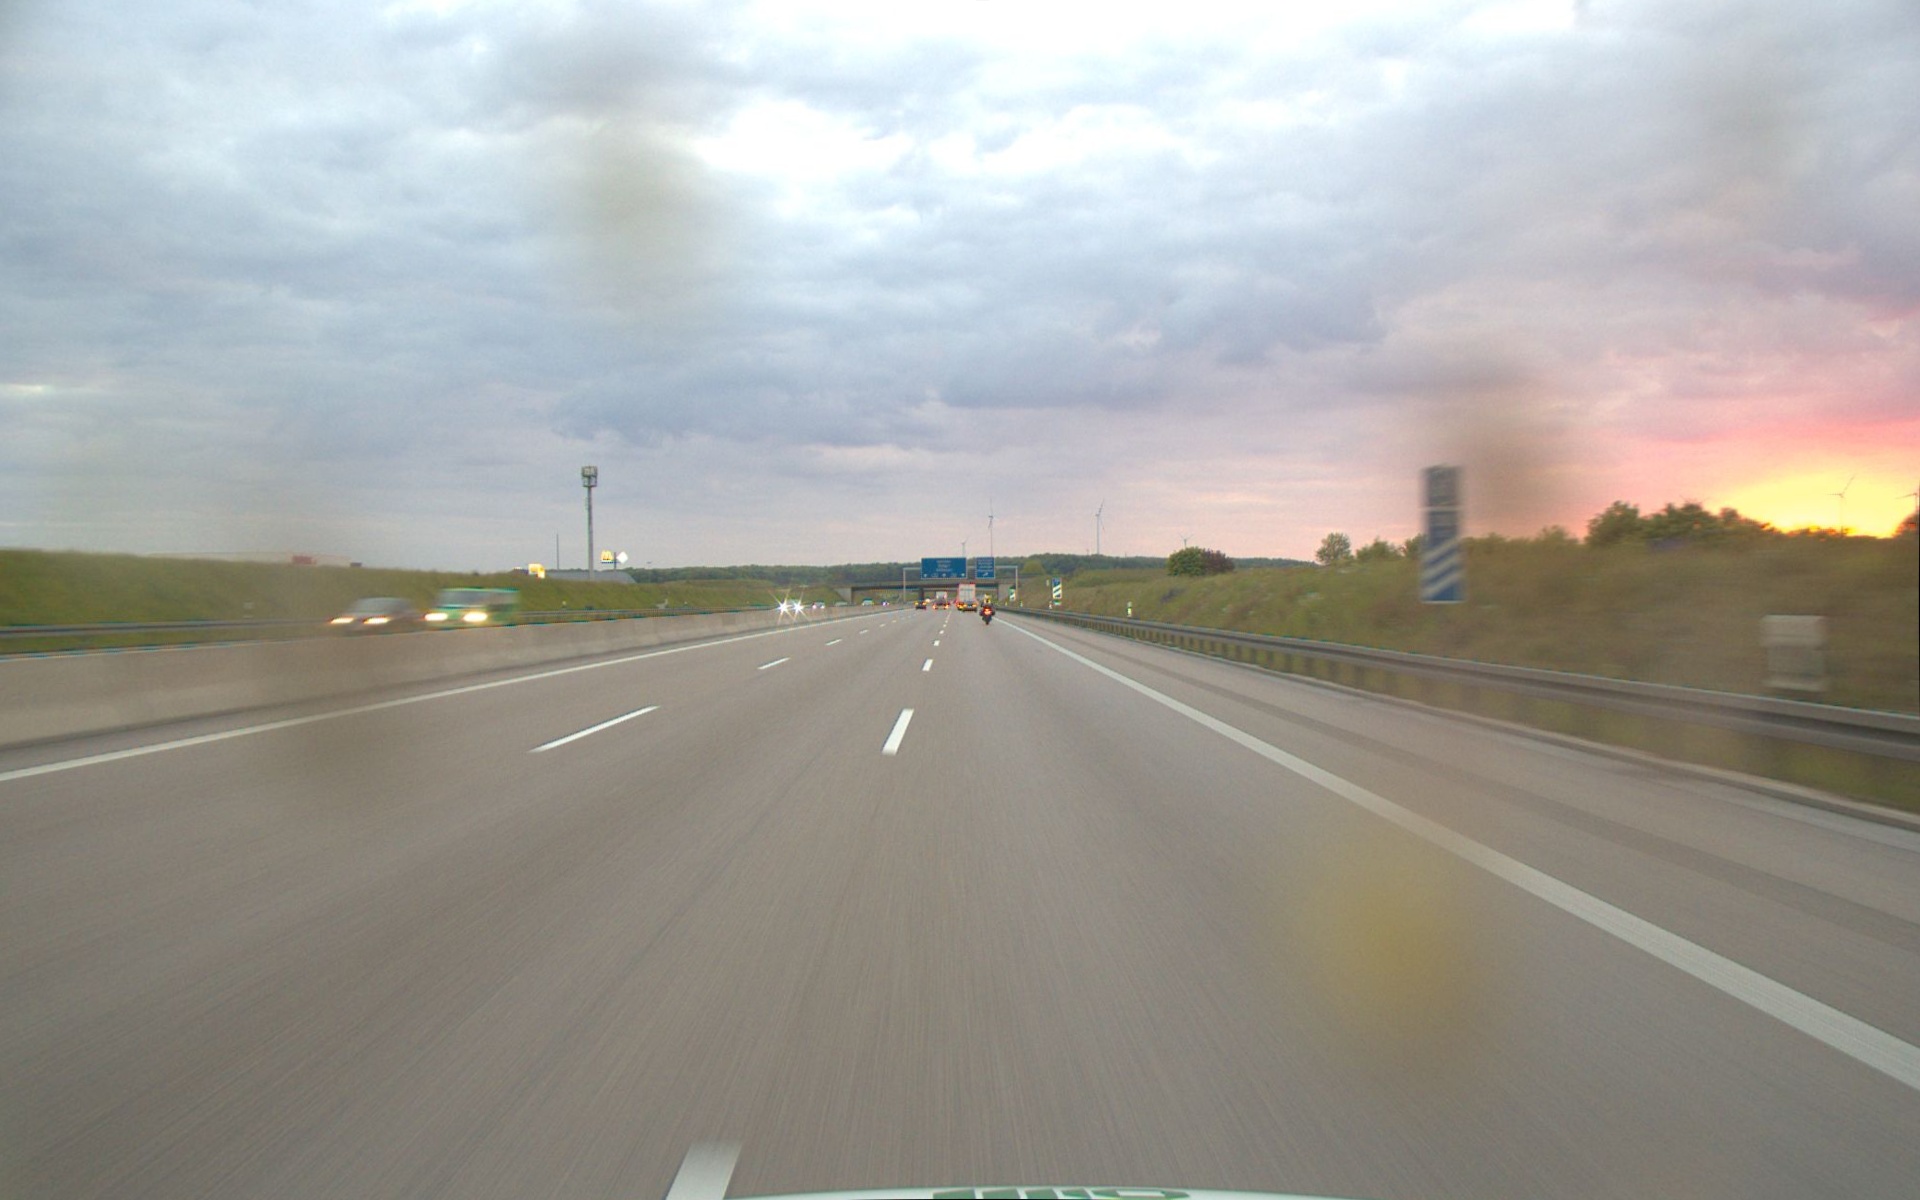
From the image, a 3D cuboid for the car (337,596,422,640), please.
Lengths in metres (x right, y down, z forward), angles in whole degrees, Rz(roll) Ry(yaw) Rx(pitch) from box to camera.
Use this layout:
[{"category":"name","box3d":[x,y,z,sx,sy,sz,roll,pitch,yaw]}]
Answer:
[{"category":"car","box3d":[-21.381,0.635,61.073,1.597,1.543,4.426,0,0,-1]}]

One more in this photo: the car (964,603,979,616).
[{"category":"car","box3d":[1.523,1.191,214.641,1.879,1.607,3.999,0,0,-1]}]

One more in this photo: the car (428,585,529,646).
[{"category":"car","box3d":[-17.055,0.514,58.864,1.962,2.049,5.736,0,0,-1]}]

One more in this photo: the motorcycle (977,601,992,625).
[{"category":"motorcycle","box3d":[1.442,0.758,97.484,0.883,1.370,2.349,0,1,0]}]

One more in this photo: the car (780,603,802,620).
[{"category":"car","box3d":[-18.216,1.228,178.191,2.057,1.842,5.019,0,0,-2]}]

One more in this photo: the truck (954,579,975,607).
[{"category":"truck","box3d":[0.748,-1.091,258.006,3.167,4.301,9.598,1,0,0]}]

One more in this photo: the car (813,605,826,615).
[{"category":"car","box3d":[-21.507,1.492,252.945,1.703,1.417,4.342,0,0,-1]}]

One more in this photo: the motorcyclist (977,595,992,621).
[{"category":"motorcyclist","box3d":[1.452,0.451,97.280,0.848,1.513,1.168,1,0,1]}]
